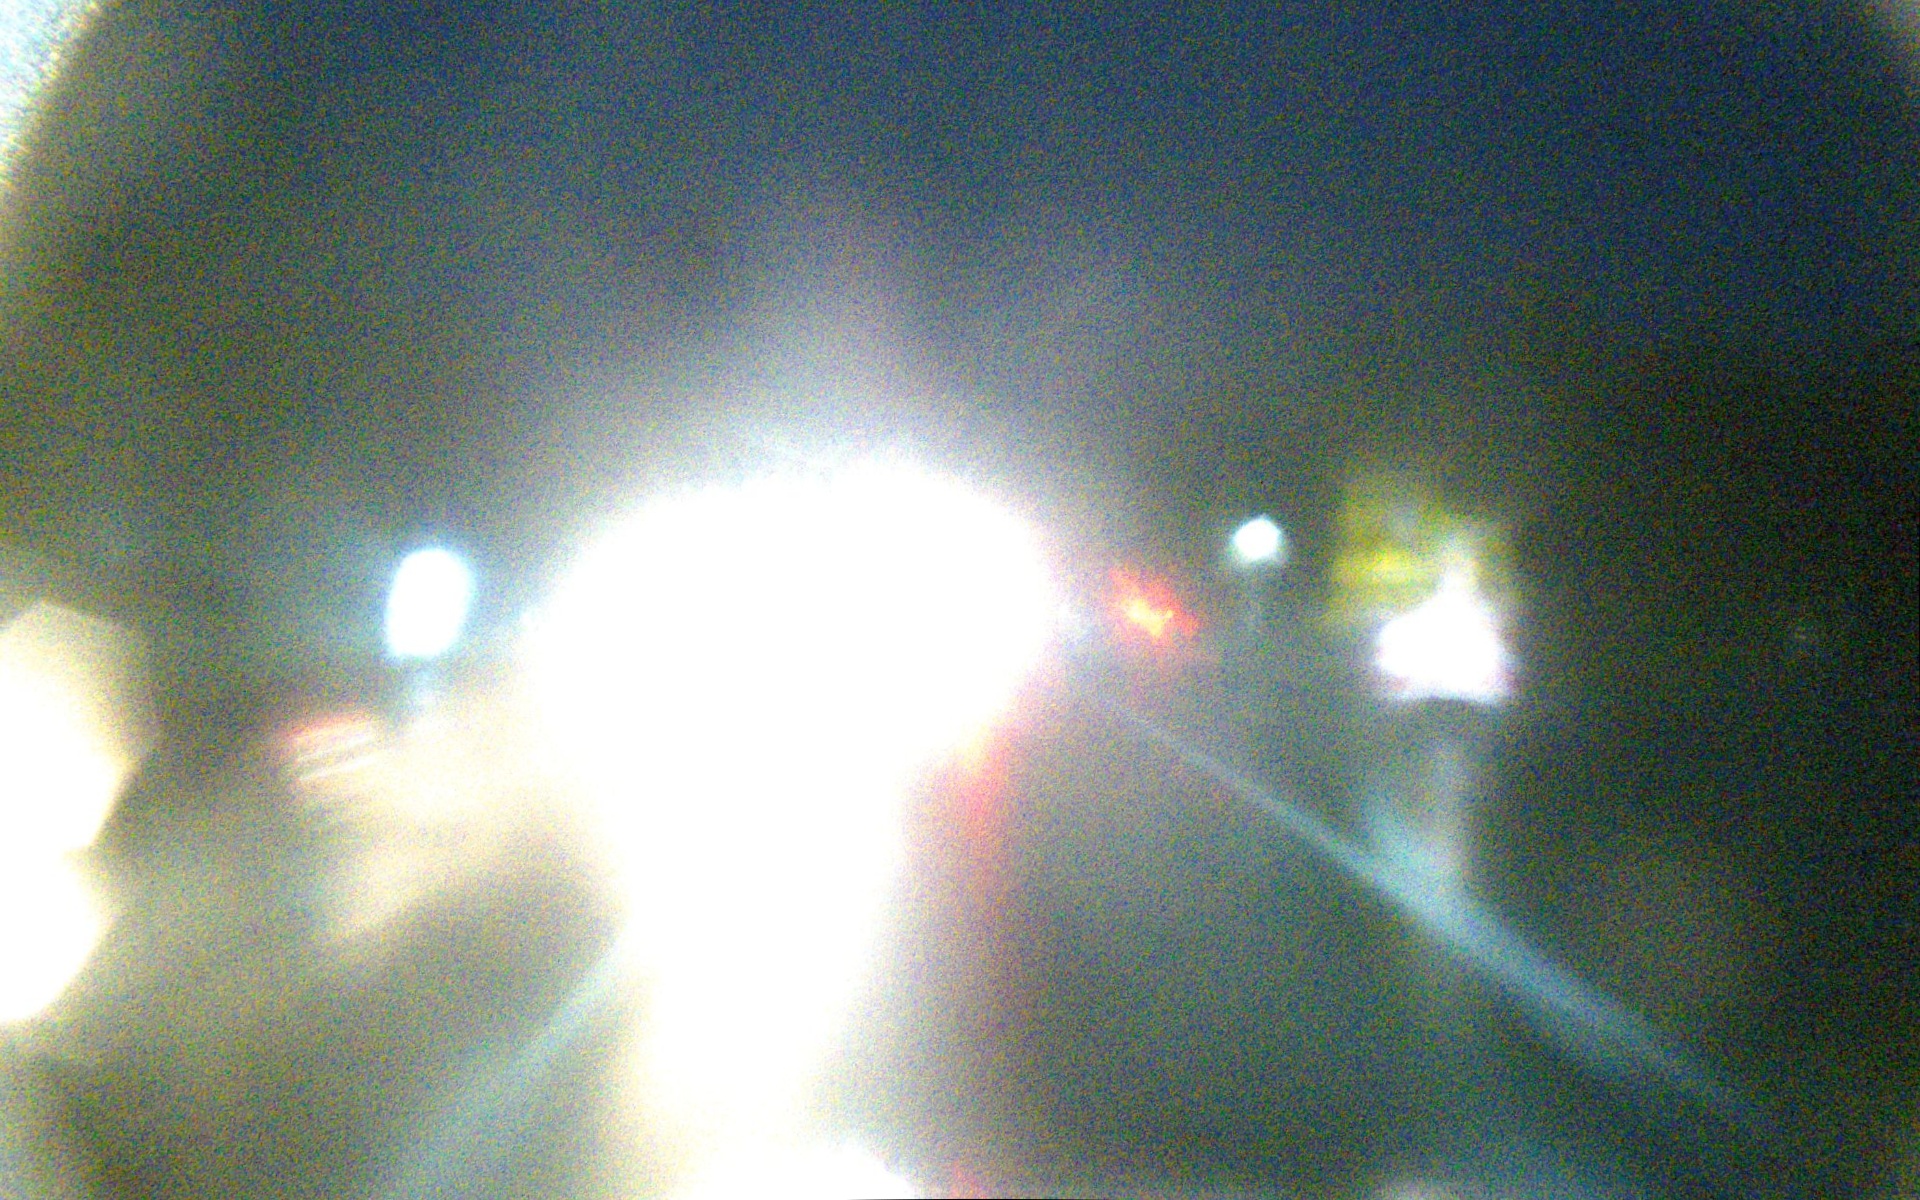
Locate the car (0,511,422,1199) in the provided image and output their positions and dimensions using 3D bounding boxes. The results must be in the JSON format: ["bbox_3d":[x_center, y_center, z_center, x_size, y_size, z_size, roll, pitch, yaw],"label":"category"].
[{"bbox_3d":[-3.214,0.600,5.092,1.861,1.673,3.790,2,0,-1],"label":"car"}]

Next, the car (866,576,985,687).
[{"bbox_3d":[-0.615,0.475,27.108,1.772,1.650,3.998,1,0,-3],"label":"car"}]

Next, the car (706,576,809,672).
[{"bbox_3d":[-3.906,0.433,32.480,1.755,1.721,3.997,2,0,-4],"label":"car"}]

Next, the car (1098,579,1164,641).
[{"bbox_3d":[5.940,0.346,57.965,2.049,2.049,4.001,2,0,3],"label":"car"}]

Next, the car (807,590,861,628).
[{"bbox_3d":[-5.207,0.359,69.043,1.953,1.443,4.664,2,0,-1],"label":"car"}]
